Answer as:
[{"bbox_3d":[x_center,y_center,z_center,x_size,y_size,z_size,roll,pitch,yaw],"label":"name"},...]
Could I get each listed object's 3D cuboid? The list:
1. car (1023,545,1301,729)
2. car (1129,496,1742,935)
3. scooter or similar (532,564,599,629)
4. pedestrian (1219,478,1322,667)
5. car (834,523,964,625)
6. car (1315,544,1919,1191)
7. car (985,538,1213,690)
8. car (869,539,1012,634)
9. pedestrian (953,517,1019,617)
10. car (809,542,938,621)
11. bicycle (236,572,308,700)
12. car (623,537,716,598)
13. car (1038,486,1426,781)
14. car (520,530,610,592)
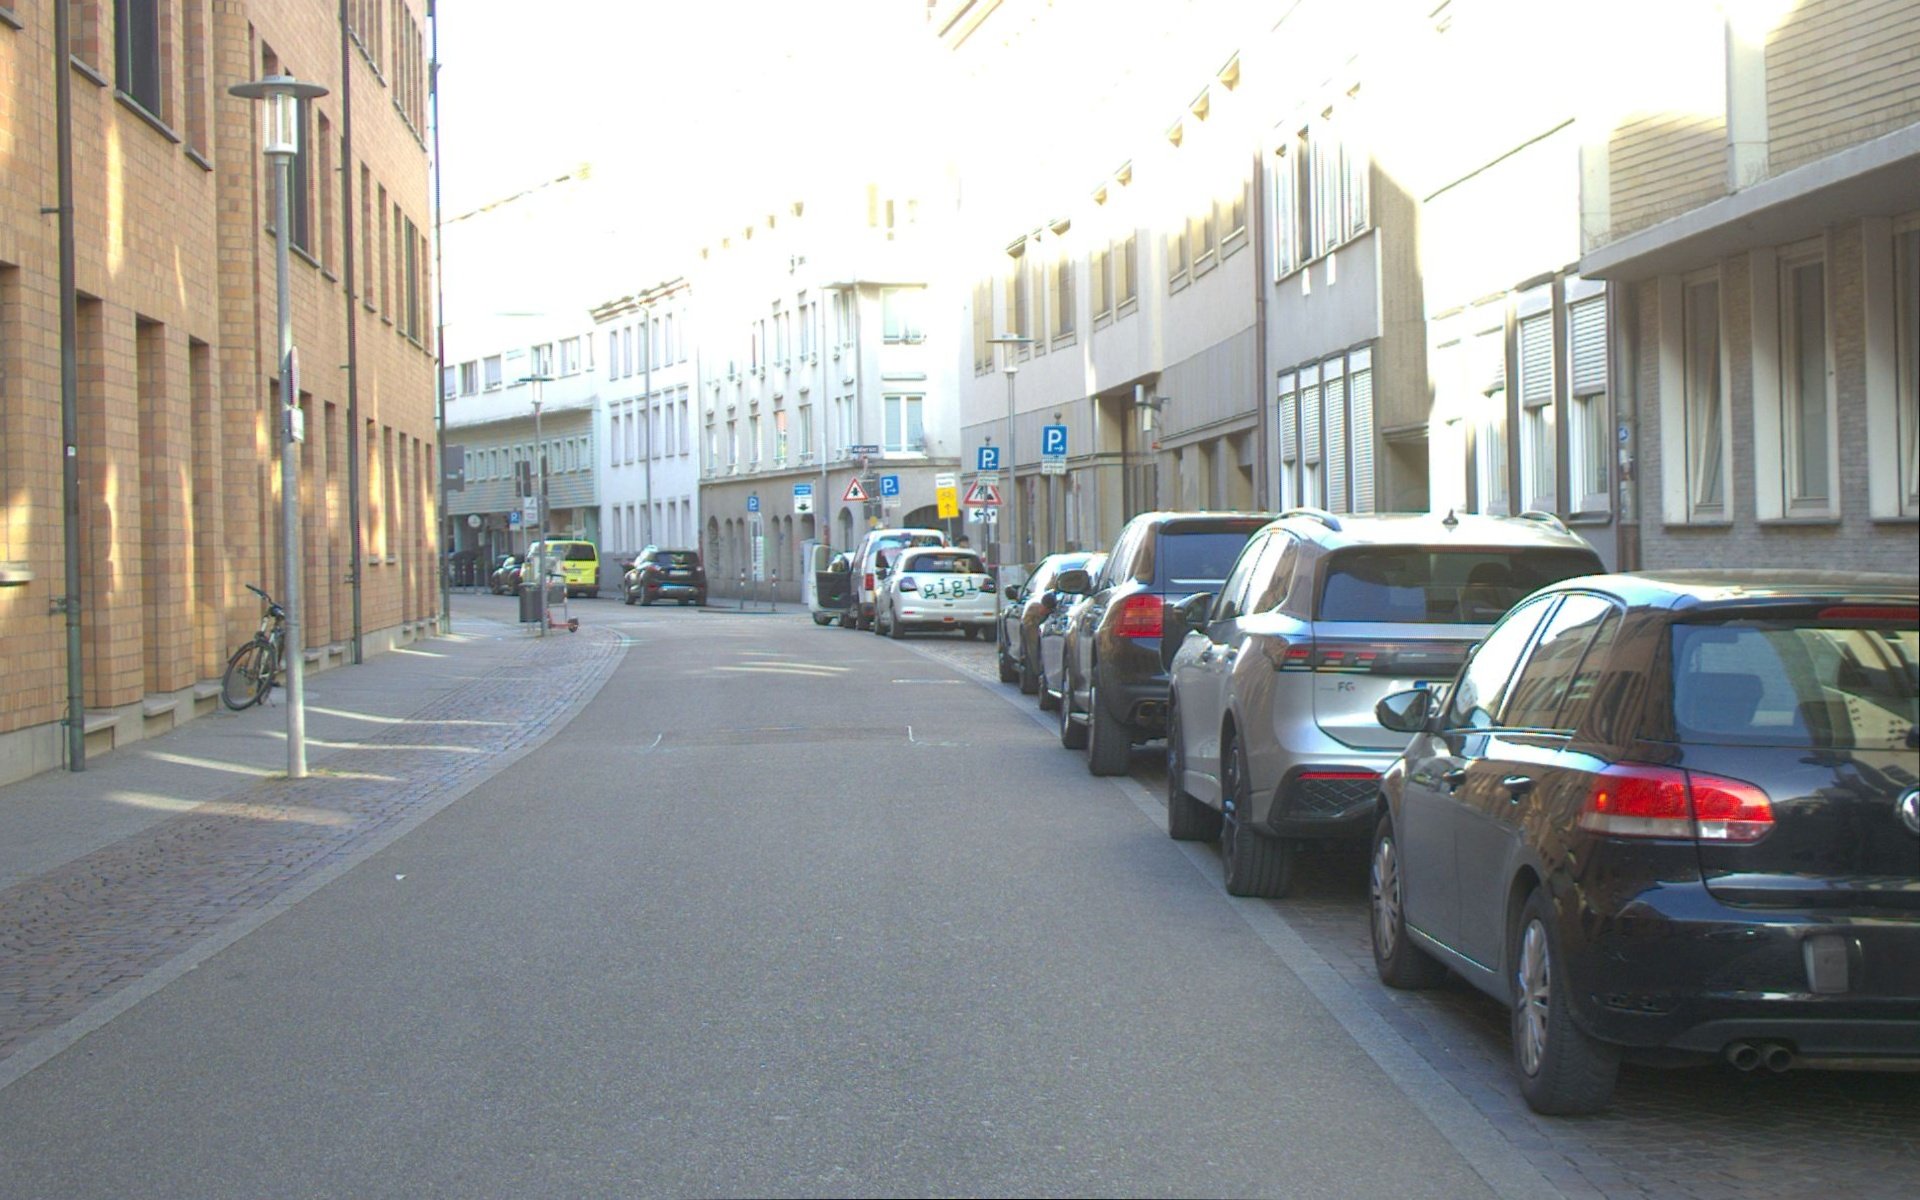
[{"bbox_3d":[1.642,0.258,29.545,1.807,1.408,4.791,1,1,-3],"label":"car"},{"bbox_3d":[1.994,0.410,15.962,1.993,1.696,4.844,1,1,-2],"label":"car"},{"bbox_3d":[-7.620,-0.072,66.412,0.698,1.213,1.356,-1,1,21],"label":"scooter or similar"},{"bbox_3d":[2.903,-0.264,32.191,0.788,1.715,0.746,-3,1,-2],"label":"pedestrian"},{"bbox_3d":[-1.160,-0.482,62.872,1.830,1.785,5.215,0,1,-7],"label":"car"},{"bbox_3d":[2.314,0.621,10.554,1.823,1.499,4.600,2,1,-1],"label":"car"},{"bbox_3d":[1.353,0.091,35.571,1.894,1.448,5.226,0,1,-3],"label":"car"},{"bbox_3d":[-0.361,-0.254,56.617,1.840,1.473,4.169,1,1,-7],"label":"car"},{"bbox_3d":[0.469,-0.598,62.775,1.042,1.795,1.199,-1,0,-7],"label":"pedestrian"},{"bbox_3d":[-1.765,-0.391,68.796,1.888,1.513,4.064,-1,1,-12],"label":"car"},{"bbox_3d":[-6.660,0.330,33.276,0.631,1.158,1.804,2,1,-11],"label":"bicycle"},{"bbox_3d":[-8.324,-0.941,98.251,1.967,1.686,4.102,0,1,-14],"label":"car"},{"bbox_3d":[1.704,0.153,23.358,2.103,1.779,5.052,0,1,-1],"label":"car"},{"bbox_3d":[-13.139,-1.310,114.190,2.052,2.007,4.176,-1,1,-19],"label":"car"}]
